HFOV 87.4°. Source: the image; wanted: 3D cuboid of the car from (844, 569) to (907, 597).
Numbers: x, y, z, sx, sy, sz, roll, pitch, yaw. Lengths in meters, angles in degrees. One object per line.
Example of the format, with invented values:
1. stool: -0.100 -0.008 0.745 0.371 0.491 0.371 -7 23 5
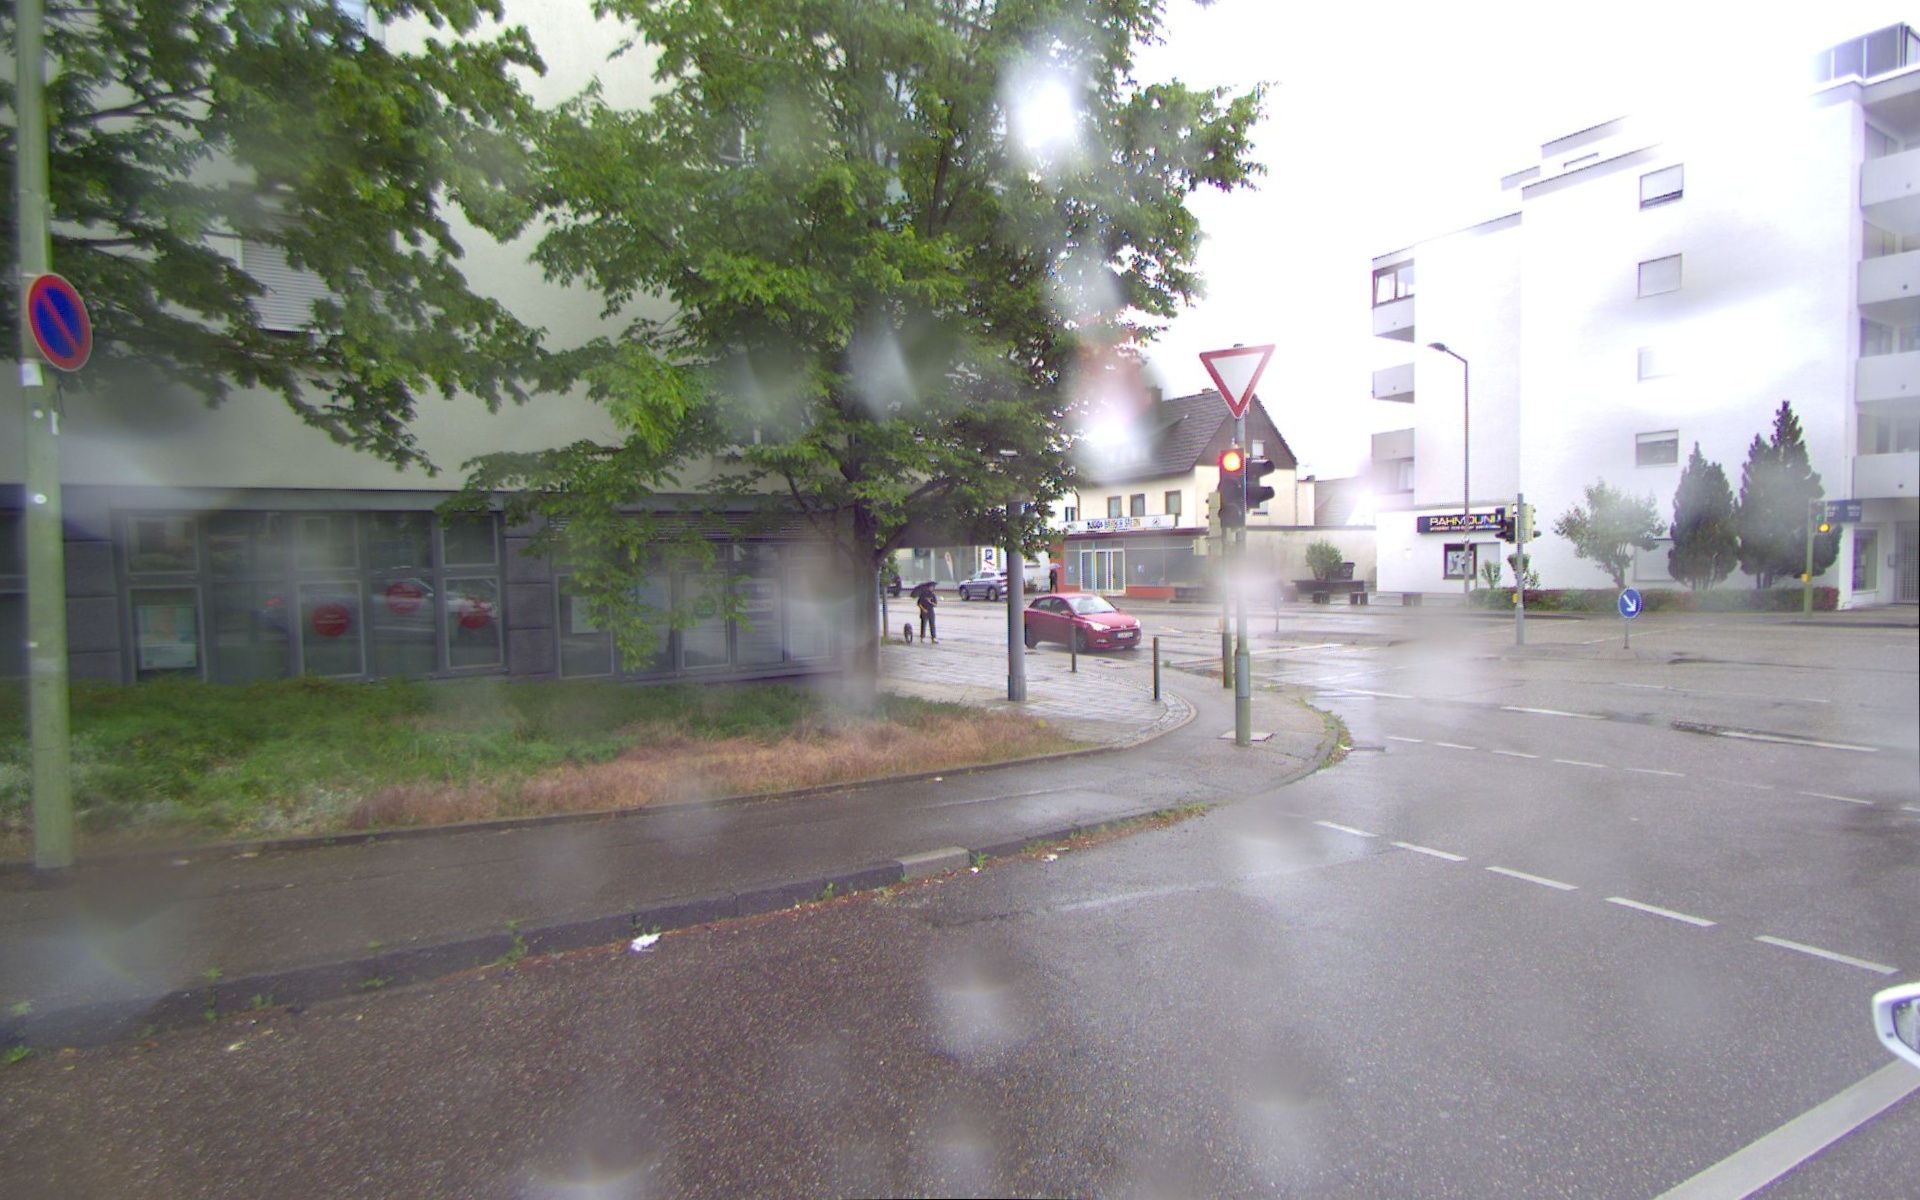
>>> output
1. car: -5.655 -1.122 66.942 2.020 1.718 4.917 -6 4 -33

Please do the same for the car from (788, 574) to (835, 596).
1. car: -11.094 -1.125 74.863 1.803 1.468 4.161 -5 4 -35

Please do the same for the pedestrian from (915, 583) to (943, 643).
1. pedestrian: -0.915 0.373 29.483 0.657 1.725 0.945 -1 2 -11

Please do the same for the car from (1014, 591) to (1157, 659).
1. car: 3.294 0.594 27.117 1.759 1.527 4.073 -6 3 -28

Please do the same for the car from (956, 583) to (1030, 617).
1. car: 1.796 -0.046 56.281 1.858 1.665 4.754 -6 3 -30

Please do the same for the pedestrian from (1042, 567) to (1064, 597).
1. pedestrian: 4.969 -0.972 53.849 0.746 1.589 0.985 -1 1 -30
